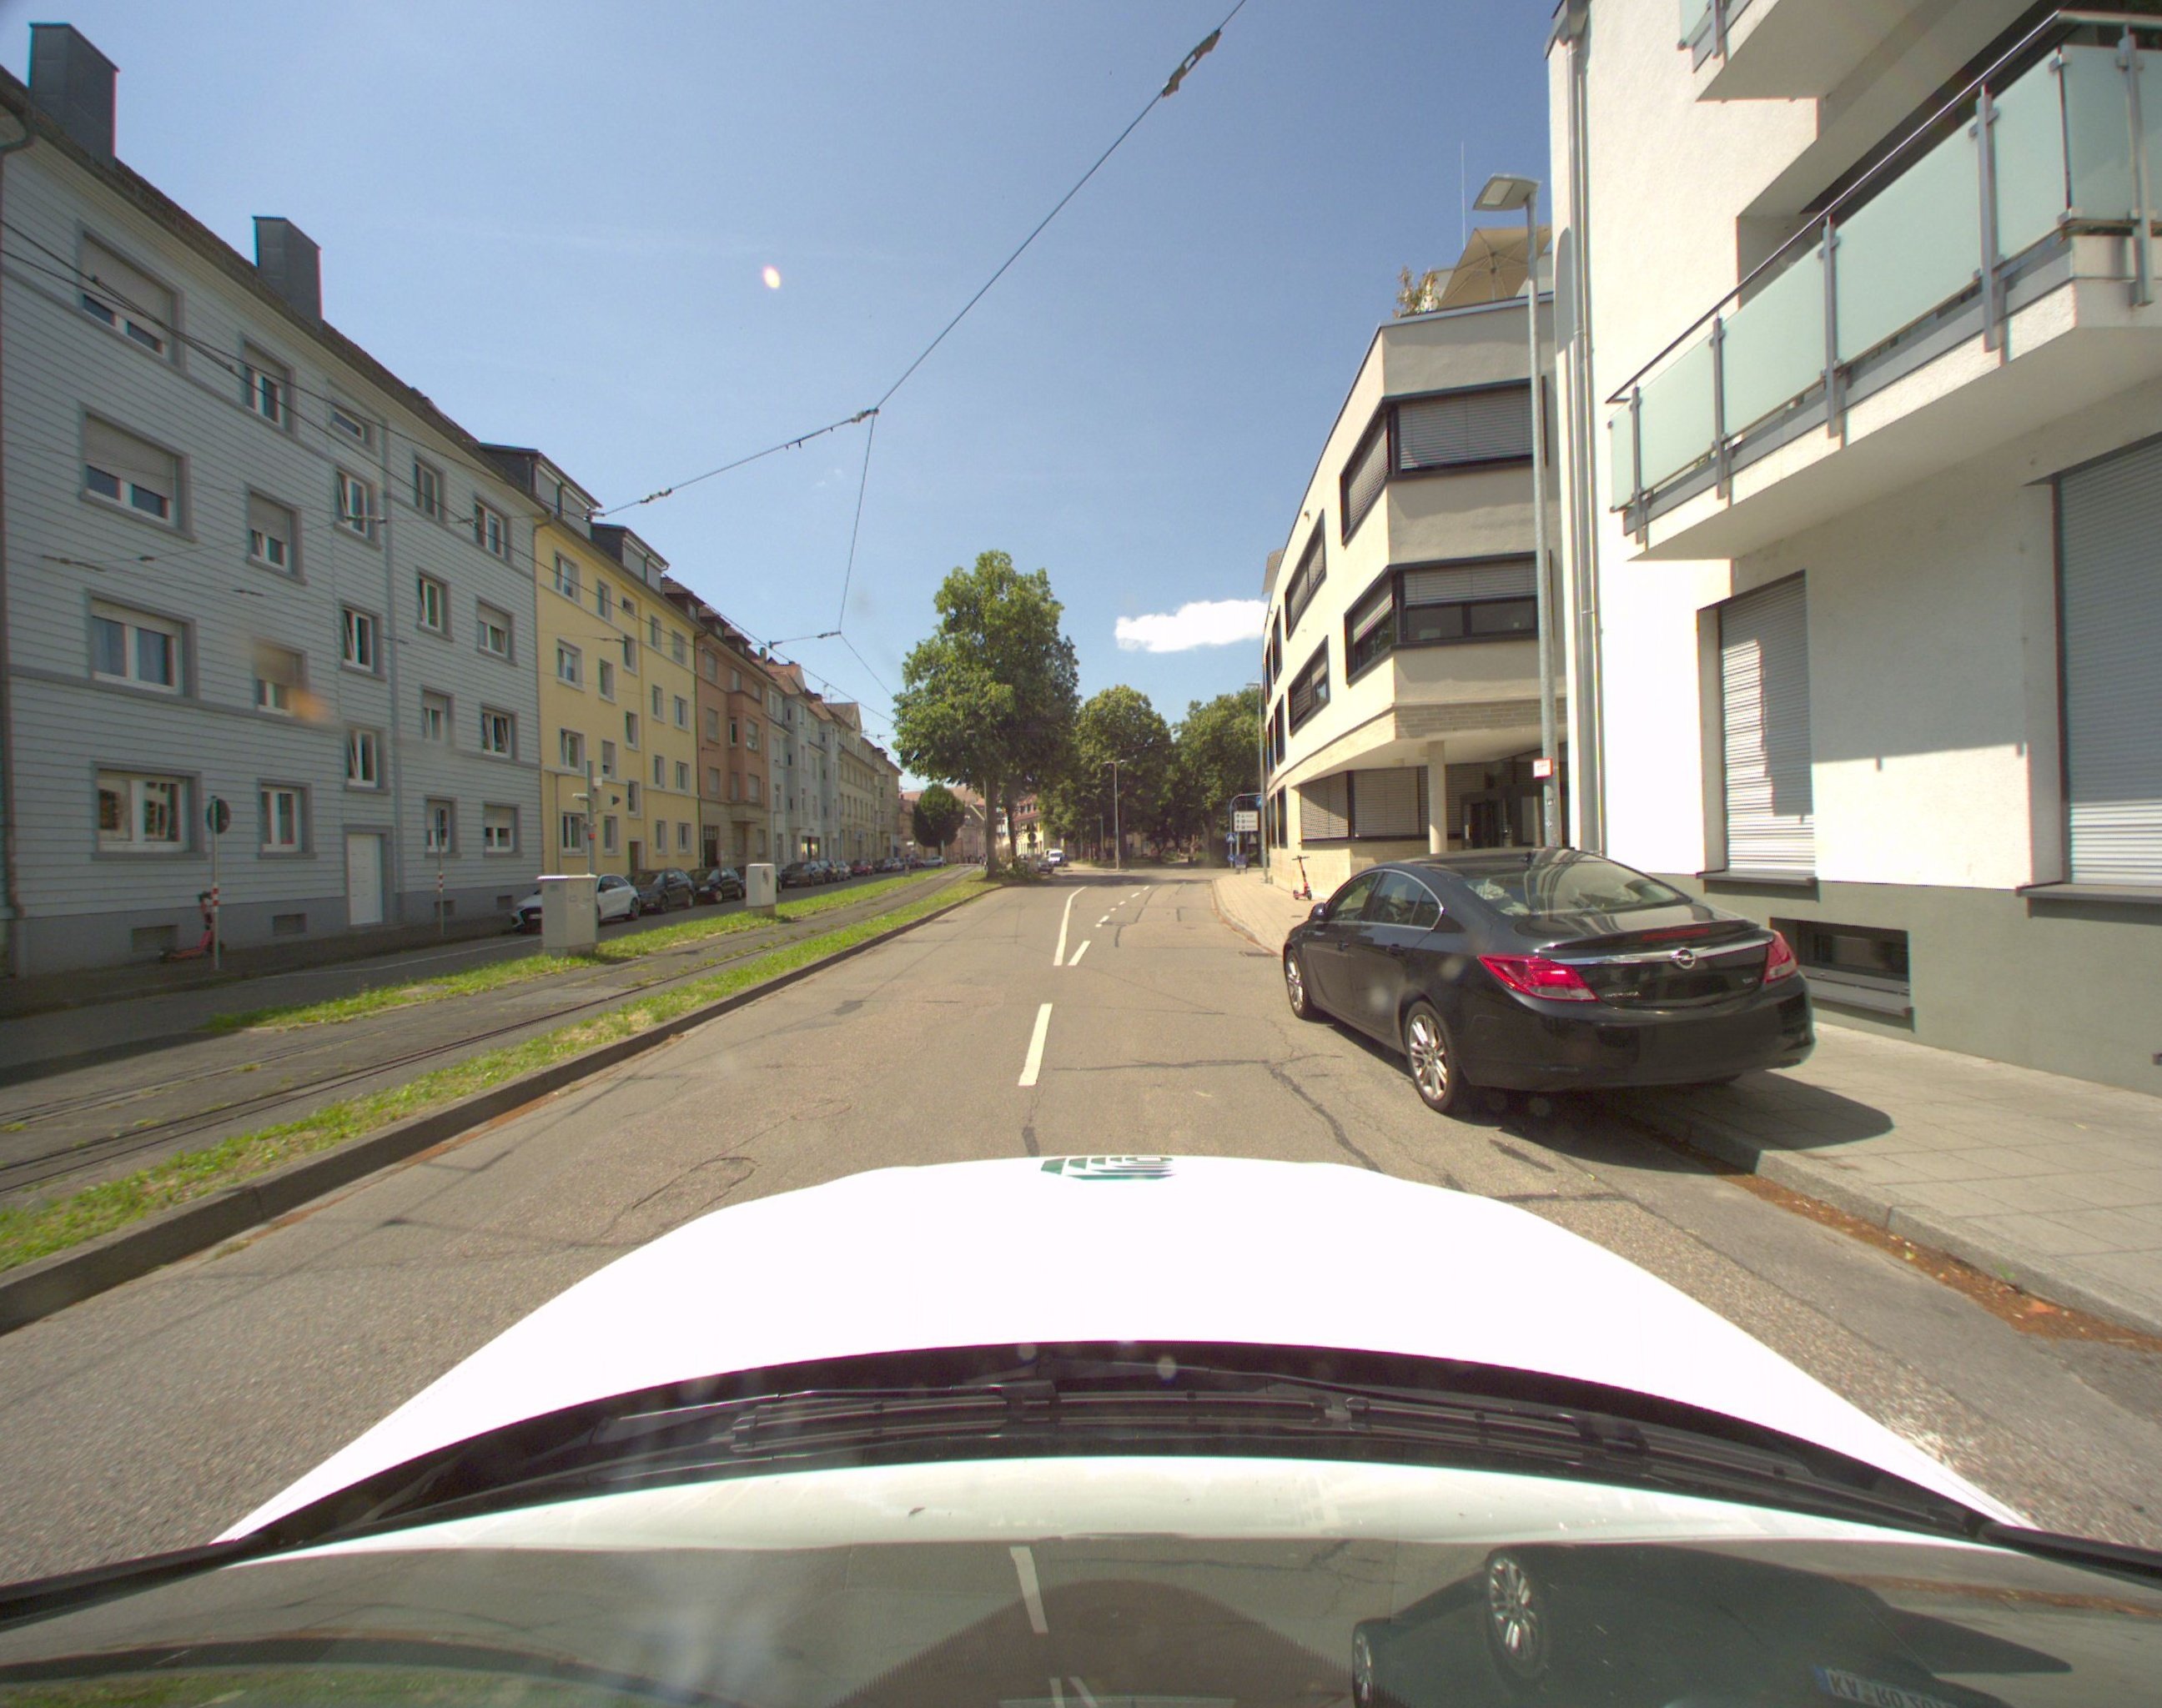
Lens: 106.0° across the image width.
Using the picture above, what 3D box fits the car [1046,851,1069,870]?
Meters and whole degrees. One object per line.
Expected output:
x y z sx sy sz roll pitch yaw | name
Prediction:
-2.390 0.655 82.838 1.991 1.826 4.413 -1 0 -6 | car

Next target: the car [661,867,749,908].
-14.834 1.279 32.379 1.828 1.400 4.134 -2 0 -5 | car

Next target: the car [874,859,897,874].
-19.980 1.288 83.429 1.684 1.360 3.850 -3 0 -6 | car

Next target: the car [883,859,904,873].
-20.466 1.247 88.971 1.684 1.390 3.850 -3 0 -6 | car

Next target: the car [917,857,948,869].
-20.720 1.211 113.775 4.203 1.505 1.997 -3 0 -10 | car

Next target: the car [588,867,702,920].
-14.618 1.262 27.584 1.926 1.505 4.314 -2 0 -8 | car

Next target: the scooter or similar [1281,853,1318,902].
6.018 0.632 22.458 0.579 1.260 1.367 -3 0 0 | scooter or similar

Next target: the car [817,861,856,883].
-17.348 1.264 57.871 1.805 1.356 4.241 -3 0 -6 | car

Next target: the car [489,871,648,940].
-13.713 1.306 22.160 1.926 1.451 4.365 -4 0 -8 | car

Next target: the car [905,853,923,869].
-22.080 0.921 107.802 1.851 1.911 4.762 -3 0 -6 | car

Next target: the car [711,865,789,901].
-15.284 1.277 37.924 1.924 1.398 4.855 -3 0 -4 | car

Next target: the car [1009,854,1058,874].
-3.805 0.756 64.817 1.918 1.534 4.196 0 0 -37 | car

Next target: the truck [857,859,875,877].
-19.108 1.254 72.559 1.125 1.494 2.588 -3 0 -7 | truck

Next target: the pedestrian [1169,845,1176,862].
10.531 -0.039 94.045 0.743 1.910 0.686 -1 1 9 | pedestrian

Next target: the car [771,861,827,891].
-16.399 1.257 47.563 1.925 1.490 4.853 -3 0 -6 | car

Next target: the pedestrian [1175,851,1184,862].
11.348 0.283 93.734 0.900 1.252 1.151 -1 1 10 | pedestrian

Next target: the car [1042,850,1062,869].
-3.286 0.598 91.351 2.045 2.002 5.241 -1 0 -4 | car

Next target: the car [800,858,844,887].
-16.891 1.180 53.260 1.834 1.685 4.134 -3 0 -6 | car

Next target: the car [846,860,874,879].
-18.477 1.266 68.242 1.569 1.451 3.618 -3 0 -6 | car

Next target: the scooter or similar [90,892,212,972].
-16.222 1.331 14.251 0.637 1.223 1.318 0 1 -6 | scooter or similar

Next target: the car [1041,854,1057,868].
-3.954 0.776 98.722 1.780 1.624 4.479 -1 0 -4 | car

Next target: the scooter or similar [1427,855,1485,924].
6.939 0.633 15.116 0.421 1.211 1.314 -1 0 -2 | scooter or similar

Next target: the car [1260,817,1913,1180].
2.847 0.687 6.030 1.795 1.509 4.543 -5 -1 -2 | car

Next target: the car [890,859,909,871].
-20.937 1.274 93.807 1.684 1.278 3.282 -3 0 -6 | car
